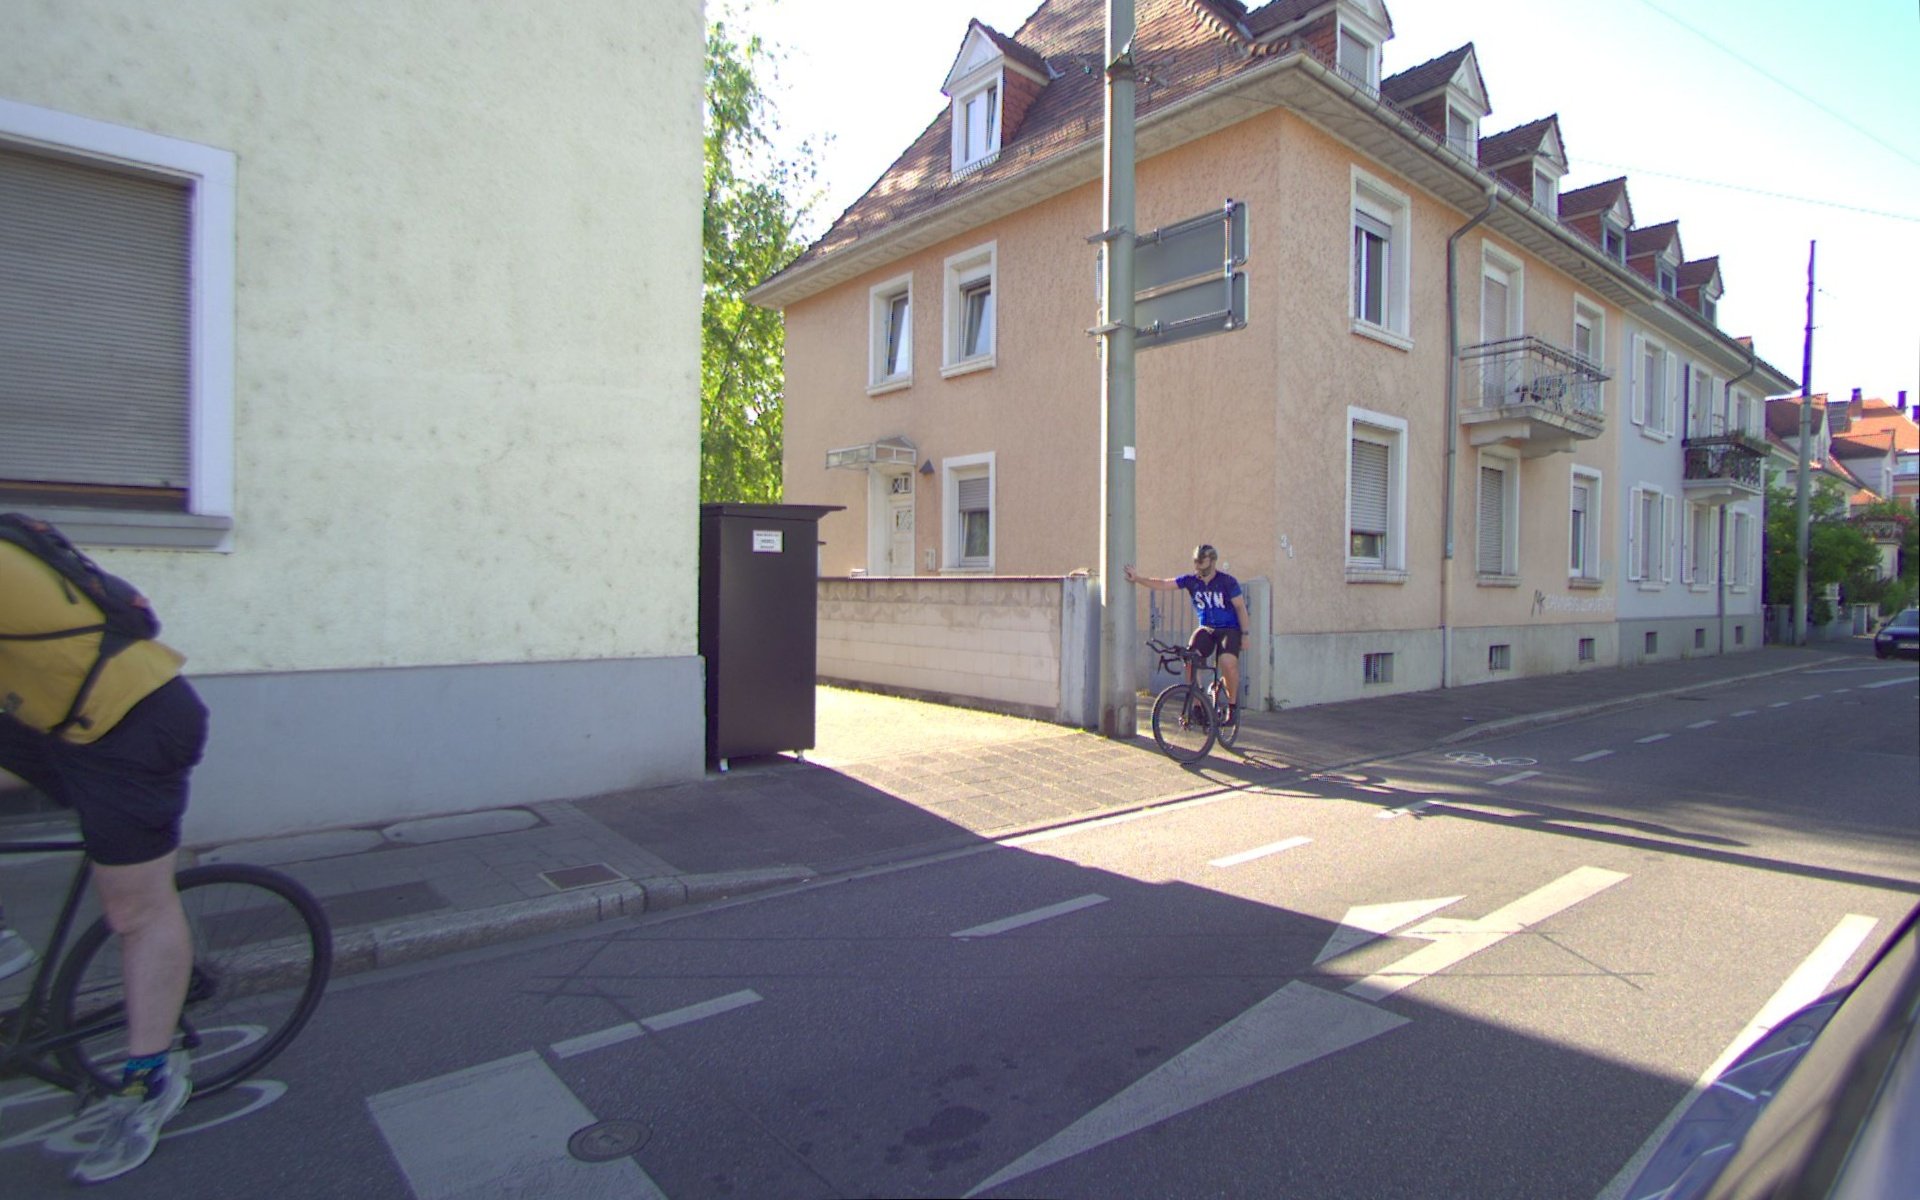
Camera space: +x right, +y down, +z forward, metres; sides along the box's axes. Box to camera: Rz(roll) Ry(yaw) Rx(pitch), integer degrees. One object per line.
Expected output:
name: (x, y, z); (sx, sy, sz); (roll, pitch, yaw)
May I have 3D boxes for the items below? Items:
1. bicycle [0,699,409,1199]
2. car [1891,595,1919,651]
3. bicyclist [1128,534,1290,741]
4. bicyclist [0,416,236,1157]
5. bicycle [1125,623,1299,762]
bicycle: (-2.464, 0.894, 2.576); (1.778, 1.101, 0.611); (0, 1, -41)
car: (26.641, 0.609, 27.327); (3.932, 1.438, 1.845); (0, 1, -42)
bicyclist: (2.323, 0.306, 9.507); (0.838, 1.758, 1.072); (0, 6, -40)
bicyclist: (-2.458, 0.434, 2.583); (0.939, 1.743, 0.582); (0, 0, -41)
bicycle: (2.317, 0.791, 9.197); (1.689, 1.064, 0.595); (0, 6, -41)
